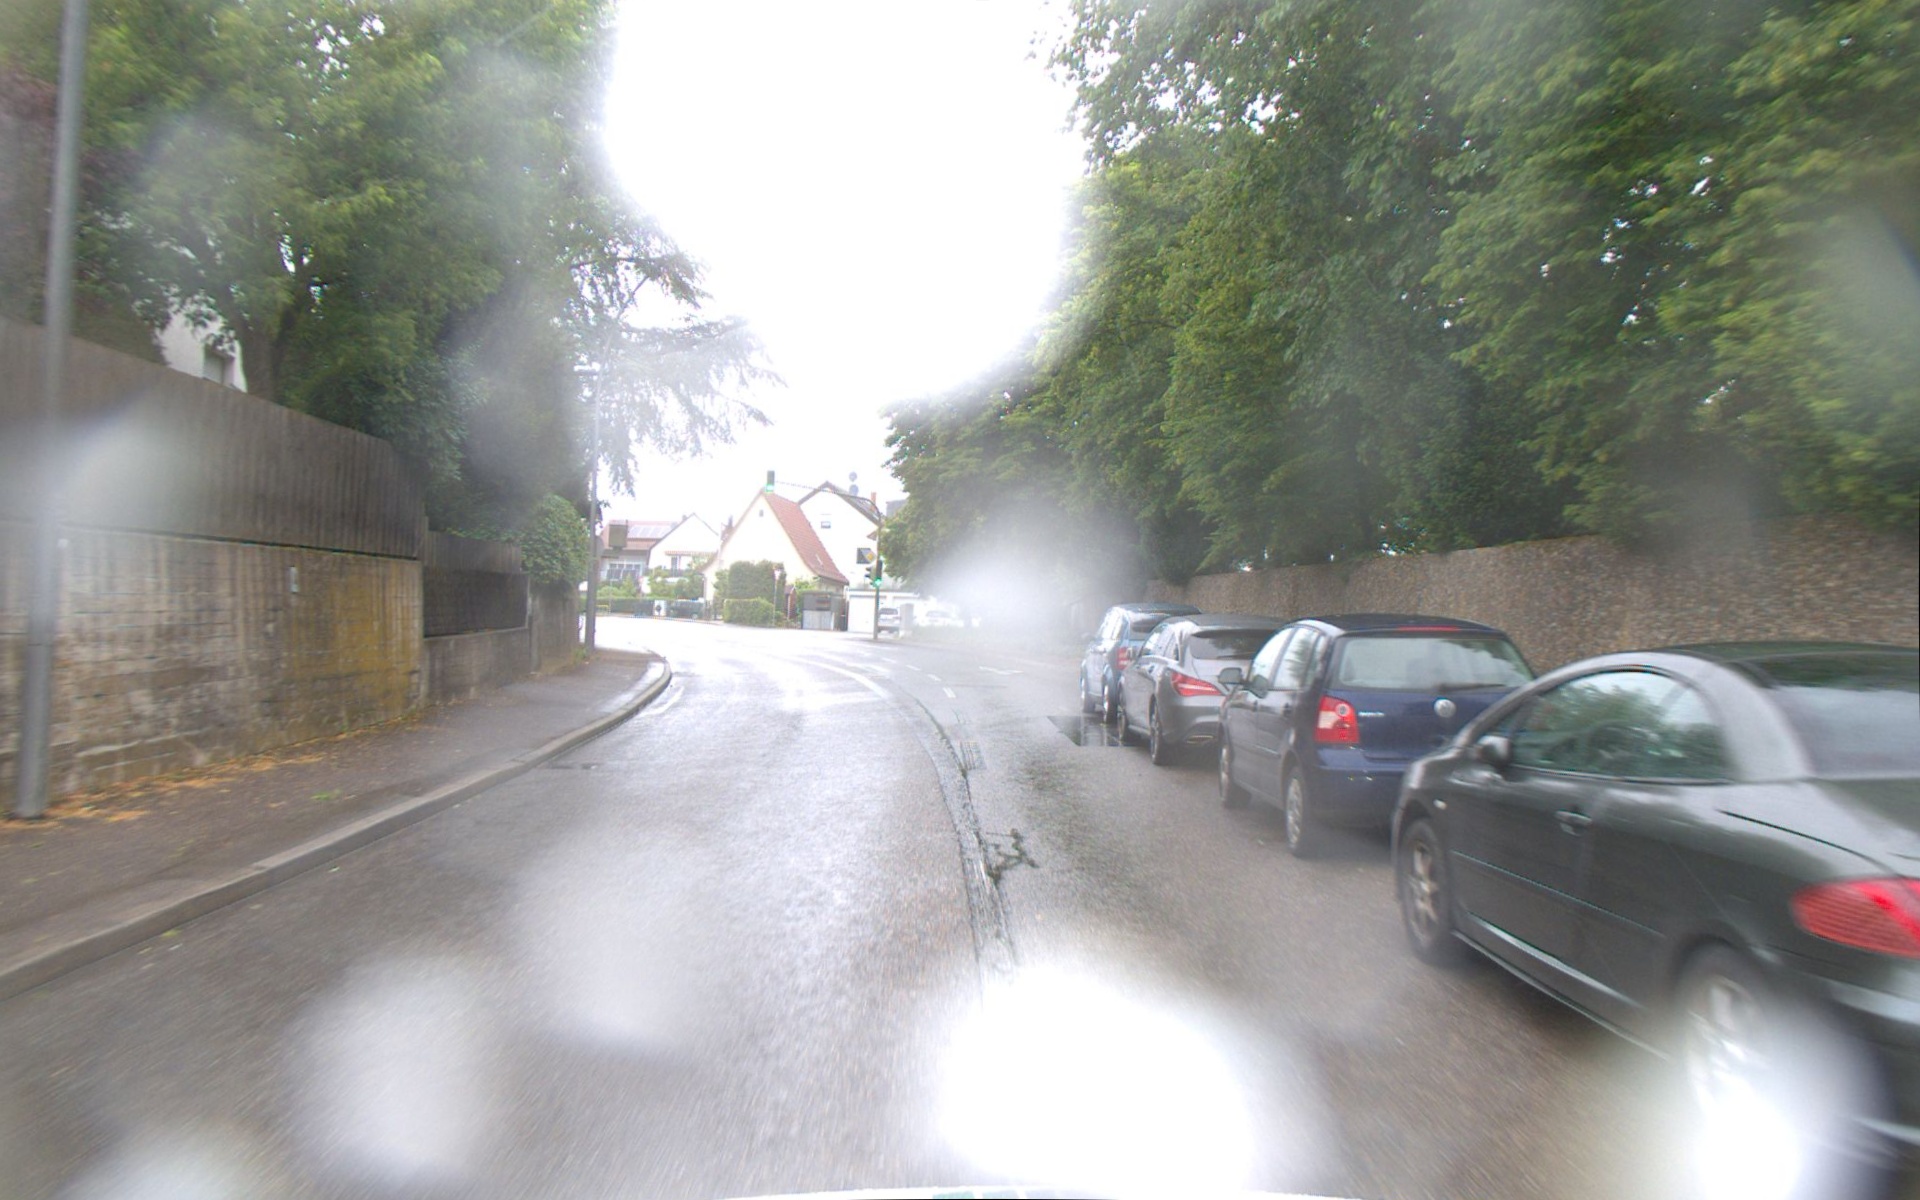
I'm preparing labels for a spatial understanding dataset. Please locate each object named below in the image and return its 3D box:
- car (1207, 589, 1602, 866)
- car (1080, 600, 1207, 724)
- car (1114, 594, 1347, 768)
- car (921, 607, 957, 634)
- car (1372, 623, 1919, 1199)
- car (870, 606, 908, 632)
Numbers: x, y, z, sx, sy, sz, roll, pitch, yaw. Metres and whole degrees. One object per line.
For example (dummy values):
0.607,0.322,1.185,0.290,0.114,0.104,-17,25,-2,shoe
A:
2.817,0.764,11.289,1.614,1.523,3.708,2,-1,-1,car
2.457,0.823,22.699,1.276,1.523,3.363,2,-1,-1,car
2.649,0.775,17.112,1.614,1.523,4.245,2,-1,-1,car
-1.201,1.164,95.874,1.867,1.467,4.001,1,0,2,car
2.877,0.826,5.792,1.619,1.395,4.179,1,0,-3,car
-4.120,1.084,96.255,1.867,1.467,4.001,1,0,2,car
